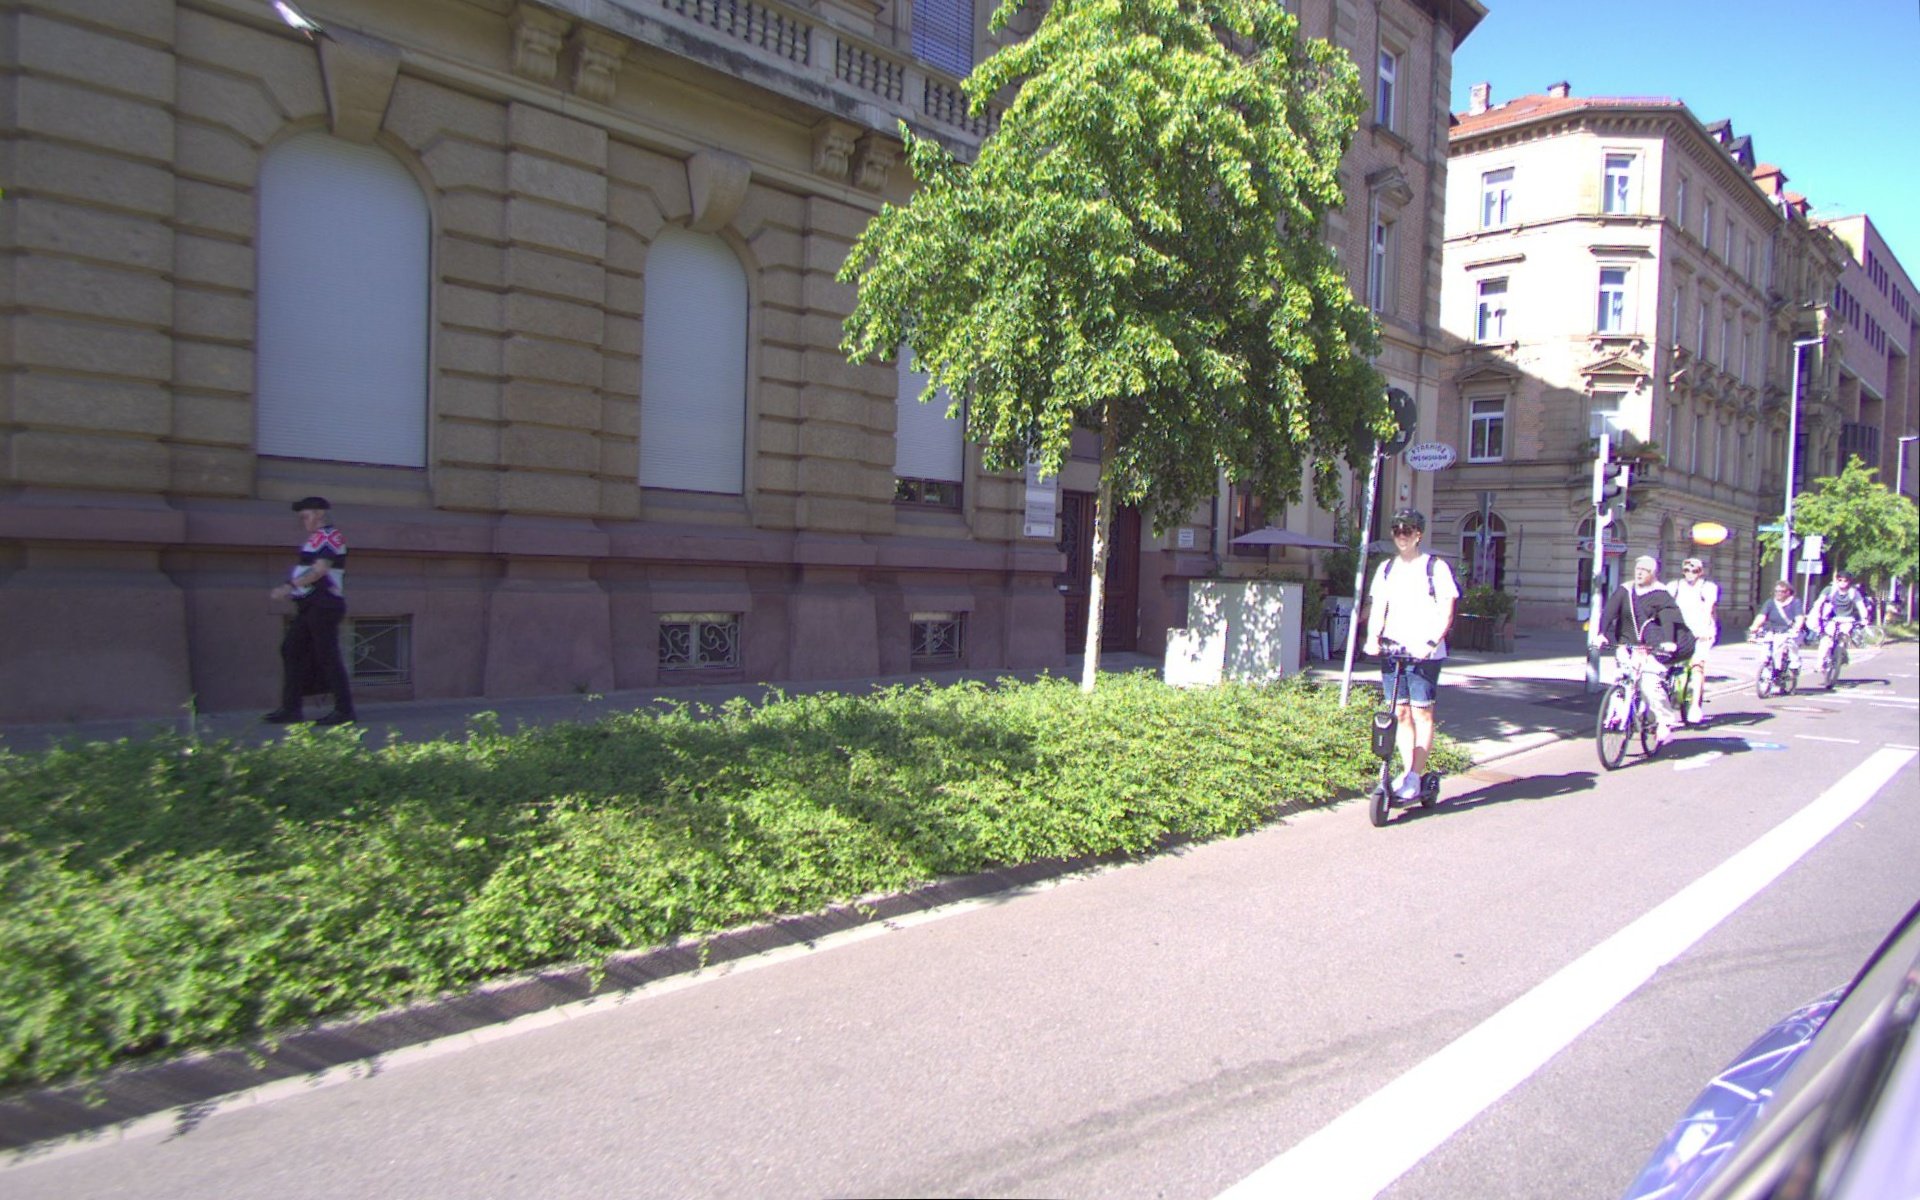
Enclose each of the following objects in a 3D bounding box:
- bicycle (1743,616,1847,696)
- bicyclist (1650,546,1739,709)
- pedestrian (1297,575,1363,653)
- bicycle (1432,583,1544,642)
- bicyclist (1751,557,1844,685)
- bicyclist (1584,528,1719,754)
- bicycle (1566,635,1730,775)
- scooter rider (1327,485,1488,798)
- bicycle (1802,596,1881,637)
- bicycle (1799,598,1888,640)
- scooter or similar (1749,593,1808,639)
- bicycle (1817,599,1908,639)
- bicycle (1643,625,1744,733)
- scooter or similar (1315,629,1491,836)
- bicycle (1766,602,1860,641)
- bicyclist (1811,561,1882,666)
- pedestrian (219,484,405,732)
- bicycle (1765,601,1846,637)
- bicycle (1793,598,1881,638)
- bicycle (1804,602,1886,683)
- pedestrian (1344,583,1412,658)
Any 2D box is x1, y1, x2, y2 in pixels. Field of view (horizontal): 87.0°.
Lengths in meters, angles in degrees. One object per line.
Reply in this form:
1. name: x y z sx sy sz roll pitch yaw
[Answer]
1. bicycle: 11.994 0.770 14.511 1.918 1.019 0.829 0 1 -41
2. bicyclist: 8.027 0.274 11.049 0.697 1.677 0.963 1 1 40
3. pedestrian: 6.455 0.221 17.671 0.872 1.298 0.727 -1 3 -41
4. bicycle: 12.656 0.275 24.334 0.801 1.247 2.221 4 0 -34
5. bicyclist: 12.007 0.276 14.511 0.971 1.748 0.853 0 1 -40
6. bicyclist: 6.057 0.327 8.858 1.072 1.840 0.724 0 1 -42
7. bicycle: 6.051 0.855 8.862 1.918 1.019 0.724 0 1 -41
8. scooter rider: 2.948 0.242 6.653 0.883 1.890 0.662 0 1 -43
9. bicycle: 27.926 0.512 32.066 1.115 1.074 1.677 -1 7 -42
10. bicycle: 26.212 0.551 30.047 0.598 1.061 1.873 -1 5 -44
11. scooter or similar: 22.887 0.437 28.307 0.479 1.212 1.197 0 2 -44
12. bicycle: 29.165 0.596 32.733 0.833 1.054 2.063 -1 6 -41
13. bicycle: 8.096 0.816 11.138 0.722 1.019 1.923 1 1 41
14. scooter or similar: 2.914 0.802 6.625 1.131 1.172 0.646 0 1 -43
15. bicycle: 24.329 0.599 28.906 0.580 0.922 1.911 0 5 -31
16. bicyclist: 14.247 0.201 16.264 0.879 1.625 0.725 0 1 -40
17. pedestrian: -4.936 0.021 7.695 1.093 1.712 0.972 0 4 -39
18. bicycle: 24.636 0.543 29.508 0.488 0.936 1.717 0 3 -40
19. bicycle: 27.108 0.544 31.289 1.013 1.042 1.901 -1 5 -43
20. bicycle: 14.243 0.649 16.266 1.918 1.209 0.724 0 1 -41
21. pedestrian: 6.999 0.325 16.951 0.866 1.197 0.719 -1 3 -41
